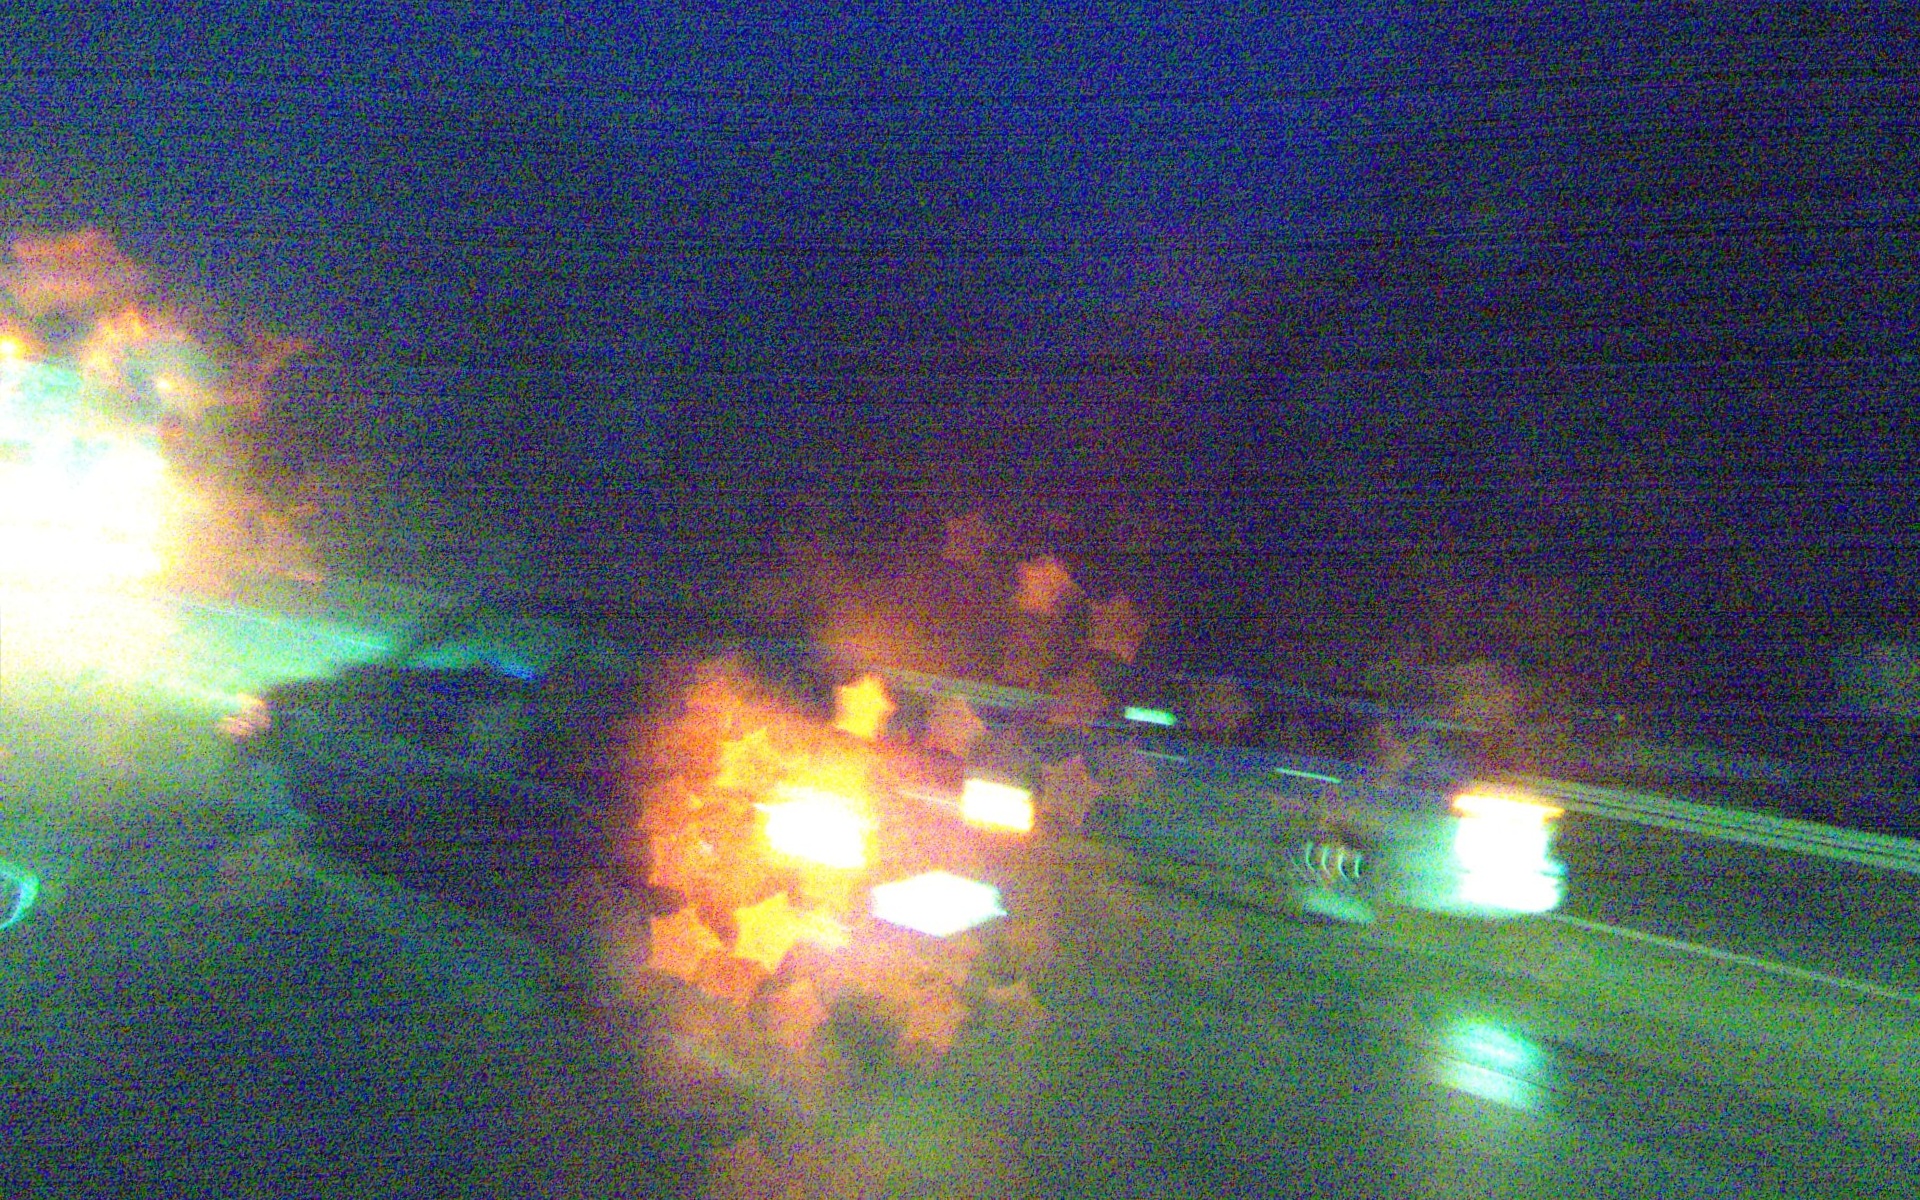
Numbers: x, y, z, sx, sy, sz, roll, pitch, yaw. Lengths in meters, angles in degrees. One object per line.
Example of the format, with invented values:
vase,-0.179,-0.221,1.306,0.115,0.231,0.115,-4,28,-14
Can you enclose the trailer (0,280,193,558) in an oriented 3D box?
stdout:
trailer,-20.480,-3.616,20.845,11.895,4.262,2.809,7,-1,31

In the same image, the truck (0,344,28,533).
truck,-25.936,-4.200,24.284,7.324,4.317,2.809,7,-1,31

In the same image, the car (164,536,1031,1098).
car,-1.769,0.656,4.623,3.728,1.429,1.616,6,-1,30

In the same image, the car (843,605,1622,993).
car,1.750,1.146,7.333,4.878,1.503,1.898,7,-2,30
